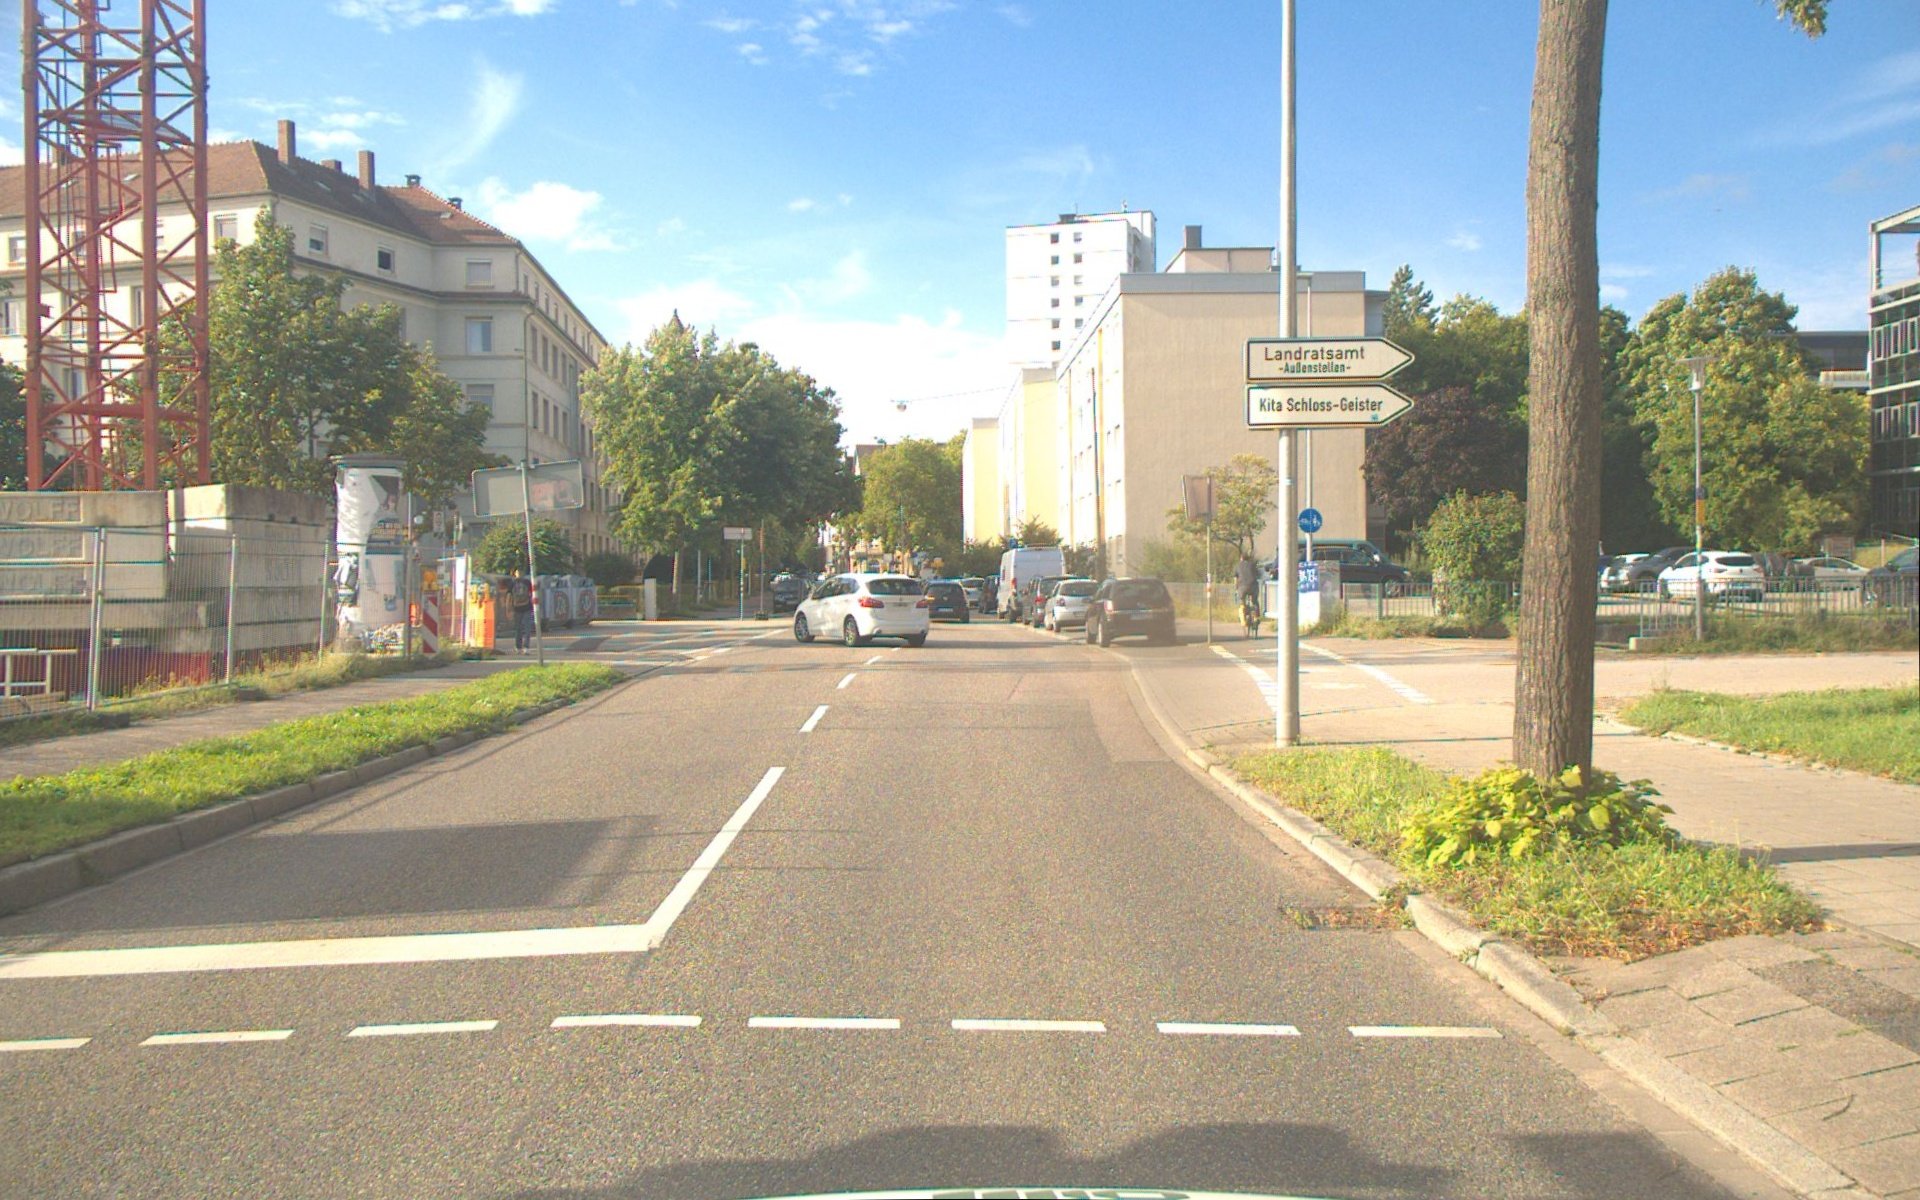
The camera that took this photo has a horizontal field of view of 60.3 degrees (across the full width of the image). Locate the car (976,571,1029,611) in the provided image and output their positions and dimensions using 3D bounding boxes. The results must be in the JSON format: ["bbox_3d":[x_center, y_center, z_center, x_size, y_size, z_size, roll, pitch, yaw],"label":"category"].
[{"bbox_3d":[1.789,-0.398,70.975,1.954,1.601,3.998,-2,1,-2],"label":"car"}]

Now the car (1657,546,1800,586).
[{"bbox_3d":[25.863,-1.138,55.755,3.903,1.333,2.001,0,0,3],"label":"car"}]

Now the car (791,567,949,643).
[{"bbox_3d":[-2.087,0.091,37.150,1.971,1.582,4.234,0,0,-28],"label":"car"}]

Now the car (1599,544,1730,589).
[{"bbox_3d":[25.806,-1.221,60.679,3.907,1.512,1.999,-2,1,-3],"label":"car"}]

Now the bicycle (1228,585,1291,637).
[{"bbox_3d":[6.497,0.214,36.043,0.725,1.052,2.761,-3,0,-2],"label":"bicycle"}]

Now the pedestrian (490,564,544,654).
[{"bbox_3d":[-8.899,0.173,33.259,0.990,1.758,1.174,-1,0,-14],"label":"pedestrian"}]

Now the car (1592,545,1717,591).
[{"bbox_3d":[26.522,-1.220,63.272,3.907,1.623,1.999,-2,1,-3],"label":"car"}]

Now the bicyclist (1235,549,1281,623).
[{"bbox_3d":[6.472,-0.307,35.970,0.722,1.540,0.874,-3,0,-2],"label":"bicyclist"}]

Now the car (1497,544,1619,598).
[{"bbox_3d":[17.785,-0.862,49.403,1.954,1.467,3.997,-2,1,-4],"label":"car"}]

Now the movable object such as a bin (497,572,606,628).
[{"bbox_3d":[-12.982,-0.012,52.592,3.037,1.737,1.411,0,0,12],"label":"movable object such as a bin"}]

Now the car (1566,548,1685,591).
[{"bbox_3d":[26.503,-1.215,65.915,3.907,1.579,1.999,-2,1,-3],"label":"car"}]

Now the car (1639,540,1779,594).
[{"bbox_3d":[22.266,-0.975,49.344,1.957,1.467,3.992,-2,1,-9],"label":"car"}]

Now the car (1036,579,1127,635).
[{"bbox_3d":[3.514,0.189,48.732,1.976,1.500,4.798,-2,0,-4],"label":"car"}]

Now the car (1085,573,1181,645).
[{"bbox_3d":[3.857,0.175,37.375,1.682,1.522,4.268,0,0,-1],"label":"car"}]

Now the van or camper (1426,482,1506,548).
[{"bbox_3d":[25.102,-4.158,82.284,2.282,2.924,5.122,-4,1,1],"label":"van or camper"}]

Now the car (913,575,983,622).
[{"bbox_3d":[-0.458,-0.086,58.472,1.956,1.598,3.993,0,1,-8],"label":"car"}]

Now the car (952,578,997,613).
[{"bbox_3d":[0.696,-0.248,81.406,1.954,1.601,3.998,-2,1,-2],"label":"car"}]

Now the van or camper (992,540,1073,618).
[{"bbox_3d":[2.564,-0.766,60.064,2.167,2.652,5.366,-2,1,-5],"label":"van or camper"}]

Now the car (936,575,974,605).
[{"bbox_3d":[-0.297,-0.572,93.848,1.954,1.601,3.998,-2,1,-2],"label":"car"}]

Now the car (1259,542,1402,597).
[{"bbox_3d":[12.386,-1.024,55.539,4.356,1.650,2.001,-2,1,2],"label":"car"}]

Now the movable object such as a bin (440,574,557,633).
[{"bbox_3d":[-13.936,0.088,49.960,3.037,1.737,1.549,0,0,13],"label":"movable object such as a bin"}]

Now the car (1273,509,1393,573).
[{"bbox_3d":[13.895,-2.170,61.831,4.034,2.224,2.001,-2,1,2],"label":"car"}]

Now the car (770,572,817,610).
[{"bbox_3d":[-7.700,-0.434,76.099,1.956,1.668,3.993,-2,1,-8],"label":"car"}]

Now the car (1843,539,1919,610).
[{"bbox_3d":[22.569,-0.615,38.179,1.812,1.617,4.606,-2,0,-1],"label":"car"}]

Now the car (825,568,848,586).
[{"bbox_3d":[-12.102,-2.232,161.674,2.017,1.692,3.919,-2,1,-8],"label":"car"}]

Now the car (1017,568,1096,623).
[{"bbox_3d":[3.104,-0.169,54.050,1.955,1.644,4.404,-2,1,-5],"label":"car"}]
